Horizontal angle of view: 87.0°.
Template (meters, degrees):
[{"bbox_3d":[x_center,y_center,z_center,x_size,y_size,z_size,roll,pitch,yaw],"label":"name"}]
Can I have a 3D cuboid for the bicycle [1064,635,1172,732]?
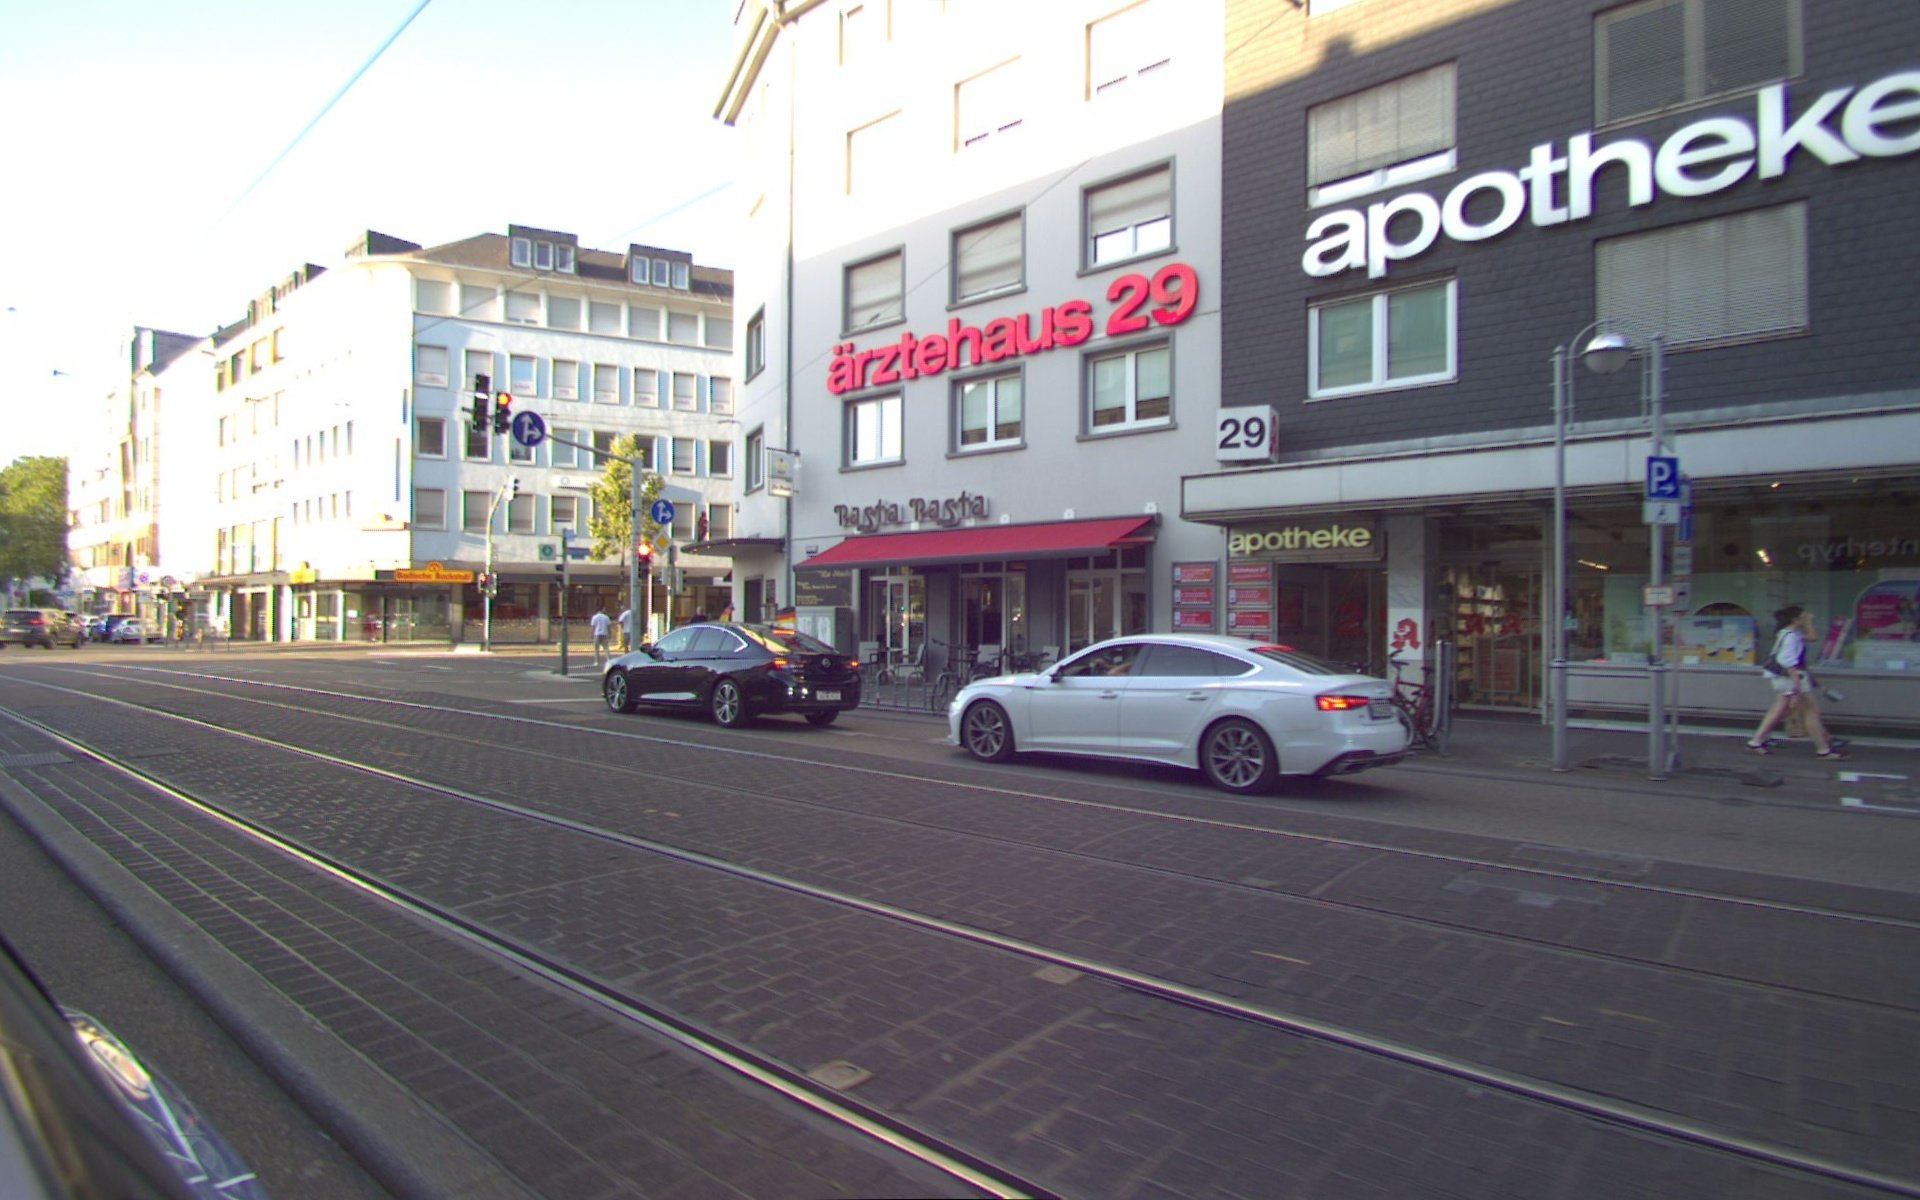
[{"bbox_3d":[2.362,1.186,14.919,0.553,1.233,2.090,-1,1,40],"label":"bicycle"}]

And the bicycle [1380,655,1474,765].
[{"bbox_3d":[5.442,1.229,11.739,0.489,1.055,1.812,-3,-1,40],"label":"bicycle"}]

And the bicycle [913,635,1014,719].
[{"bbox_3d":[0.083,1.227,16.629,0.553,1.220,1.871,-1,1,40],"label":"bicycle"}]

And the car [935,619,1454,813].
[{"bbox_3d":[2.136,0.969,10.057,4.654,1.464,1.972,-1,-3,41],"label":"car"}]

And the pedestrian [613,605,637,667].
[{"bbox_3d":[-9.849,1.047,29.758,0.627,1.792,0.602,0,-1,-16],"label":"pedestrian"}]

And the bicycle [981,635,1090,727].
[{"bbox_3d":[1.204,1.212,15.675,0.553,1.233,2.090,-1,1,40],"label":"bicycle"}]

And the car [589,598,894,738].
[{"bbox_3d":[-3.350,0.926,14.961,4.726,1.740,1.972,-1,-3,42],"label":"car"}]

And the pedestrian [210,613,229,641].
[{"bbox_3d":[-40.261,1.480,55.034,0.621,1.483,0.539,-2,1,25],"label":"pedestrian"}]

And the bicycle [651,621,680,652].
[{"bbox_3d":[-12.892,1.585,44.300,0.629,1.262,2.382,1,0,-30],"label":"bicycle"}]

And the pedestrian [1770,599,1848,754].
[{"bbox_3d":[9.589,0.840,11.445,0.624,1.673,0.675,-2,-2,40],"label":"pedestrian"}]

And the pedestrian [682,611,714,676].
[{"bbox_3d":[-6.962,1.142,26.909,0.701,1.689,0.705,0,-1,-25],"label":"pedestrian"}]

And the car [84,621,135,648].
[{"bbox_3d":[-46.976,1.881,55.871,3.387,1.364,1.615,-2,0,41],"label":"car"}]

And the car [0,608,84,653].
[{"bbox_3d":[-37.825,1.233,41.354,1.797,1.711,4.273,1,-1,-23],"label":"car"}]

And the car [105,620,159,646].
[{"bbox_3d":[-43.213,1.716,52.801,3.387,1.263,1.615,-2,0,41],"label":"car"}]

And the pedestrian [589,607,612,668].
[{"bbox_3d":[-10.469,1.076,29.484,0.627,1.758,0.671,0,-1,-20],"label":"pedestrian"}]

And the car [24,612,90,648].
[{"bbox_3d":[-45.732,1.498,51.233,4.564,1.711,1.782,-1,-2,39],"label":"car"}]

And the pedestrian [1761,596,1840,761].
[{"bbox_3d":[9.083,0.826,10.945,0.602,1.712,0.614,-2,-2,40],"label":"pedestrian"}]
